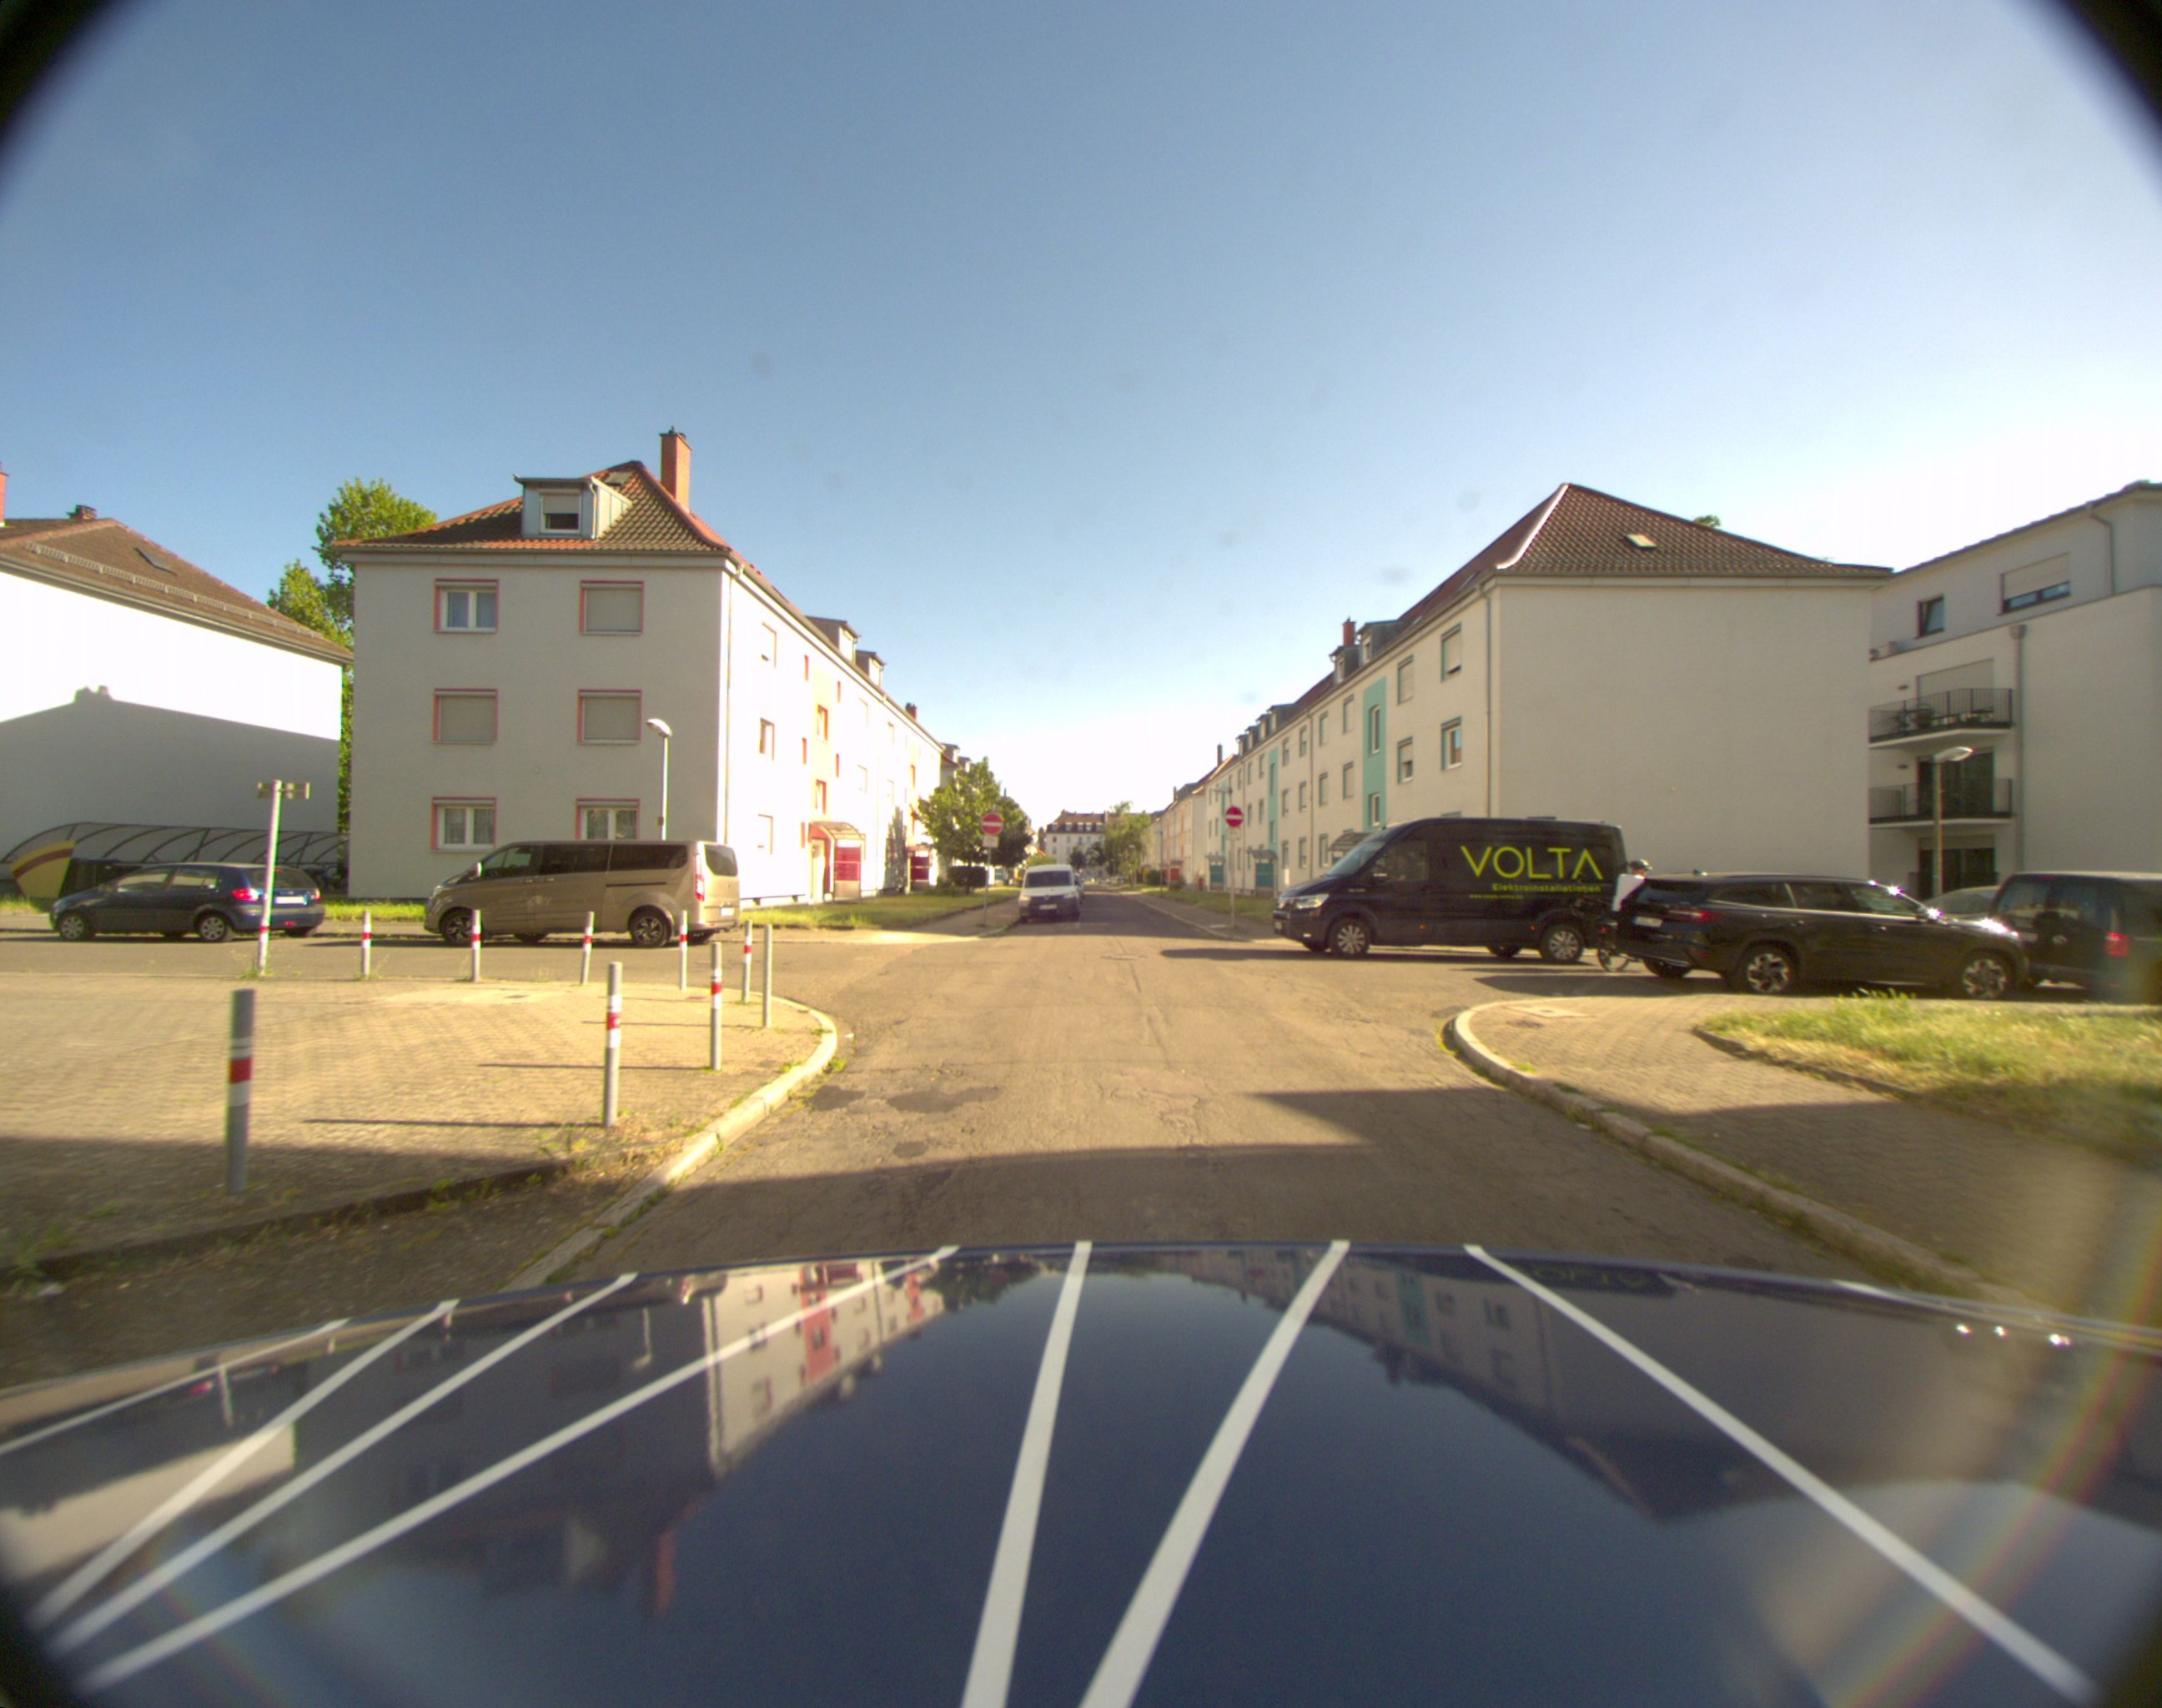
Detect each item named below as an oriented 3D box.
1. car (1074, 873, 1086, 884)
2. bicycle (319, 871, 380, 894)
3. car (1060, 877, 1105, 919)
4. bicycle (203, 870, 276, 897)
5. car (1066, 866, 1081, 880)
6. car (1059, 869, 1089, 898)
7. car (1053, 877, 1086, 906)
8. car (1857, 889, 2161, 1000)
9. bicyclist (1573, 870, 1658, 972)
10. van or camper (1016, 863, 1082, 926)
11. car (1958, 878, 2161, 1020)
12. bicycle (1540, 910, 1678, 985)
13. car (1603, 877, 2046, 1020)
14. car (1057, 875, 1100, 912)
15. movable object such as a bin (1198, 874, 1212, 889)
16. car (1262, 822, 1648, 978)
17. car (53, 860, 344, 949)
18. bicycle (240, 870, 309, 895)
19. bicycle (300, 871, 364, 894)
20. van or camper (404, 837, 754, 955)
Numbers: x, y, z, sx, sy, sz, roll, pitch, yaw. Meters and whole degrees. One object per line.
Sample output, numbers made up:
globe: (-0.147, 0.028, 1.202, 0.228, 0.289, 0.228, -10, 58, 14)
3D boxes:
car: (-0.189, 3.715, 115.310, 1.708, 1.562, 4.736, 1, -1, 1)
bicycle: (-27.360, 1.051, 28.432, 1.829, 0.776, 0.506, 3, -1, 2)
car: (0.015, 1.661, 29.648, 1.577, 1.408, 3.788, -3, -1, -1)
bicycle: (-27.478, 0.965, 24.828, 1.829, 0.776, 0.506, 3, -1, 2)
car: (-1.017, 2.696, 109.051, 1.953, 1.889, 4.765, 1, -1, 1)
car: (-0.461, 1.869, 48.807, 1.780, 1.709, 4.307, -1, -1, -2)
car: (-0.607, 1.953, 39.986, 1.633, 1.441, 3.953, 1, -2, -1)
car: (17.127, 1.598, 13.861, 3.997, 1.685, 1.866, 3, -1, 0)
bicyclist: (8.519, 1.050, 12.127, 0.907, 1.569, 0.598, 2, 0, -5)
van or camper: (-0.927, 1.248, 24.608, 1.797, 1.737, 4.736, -3, -1, 1)
car: (15.442, 1.316, 10.757, 4.001, 1.778, 1.719, 2, 1, 0)
bicycle: (8.389, 1.482, 12.108, 1.815, 1.108, 0.629, 1, 0, -5)
car: (10.245, 1.255, 10.726, 4.499, 1.654, 1.719, 2, 1, 0)
car: (-0.155, 1.694, 33.661, 1.622, 1.541, 3.610, 1, -1, -4)
movable object such as a bin: (12.206, 2.714, 74.740, 1.167, 1.384, 0.878, 1, -1, 0)
car: (6.496, 0.782, 13.732, 5.955, 2.529, 2.001, 1, -1, 1)
car: (-16.552, 0.917, 14.392, 3.483, 1.521, 1.680, 1, -1, 0)
bicycle: (-27.651, 0.984, 26.061, 1.829, 0.776, 0.506, 3, -1, 2)
bicycle: (-27.385, 1.035, 27.786, 1.829, 0.776, 0.506, 3, -1, 2)
van or camper: (-9.228, 0.800, 14.365, 5.138, 2.001, 2.000, 1, -3, -3)
